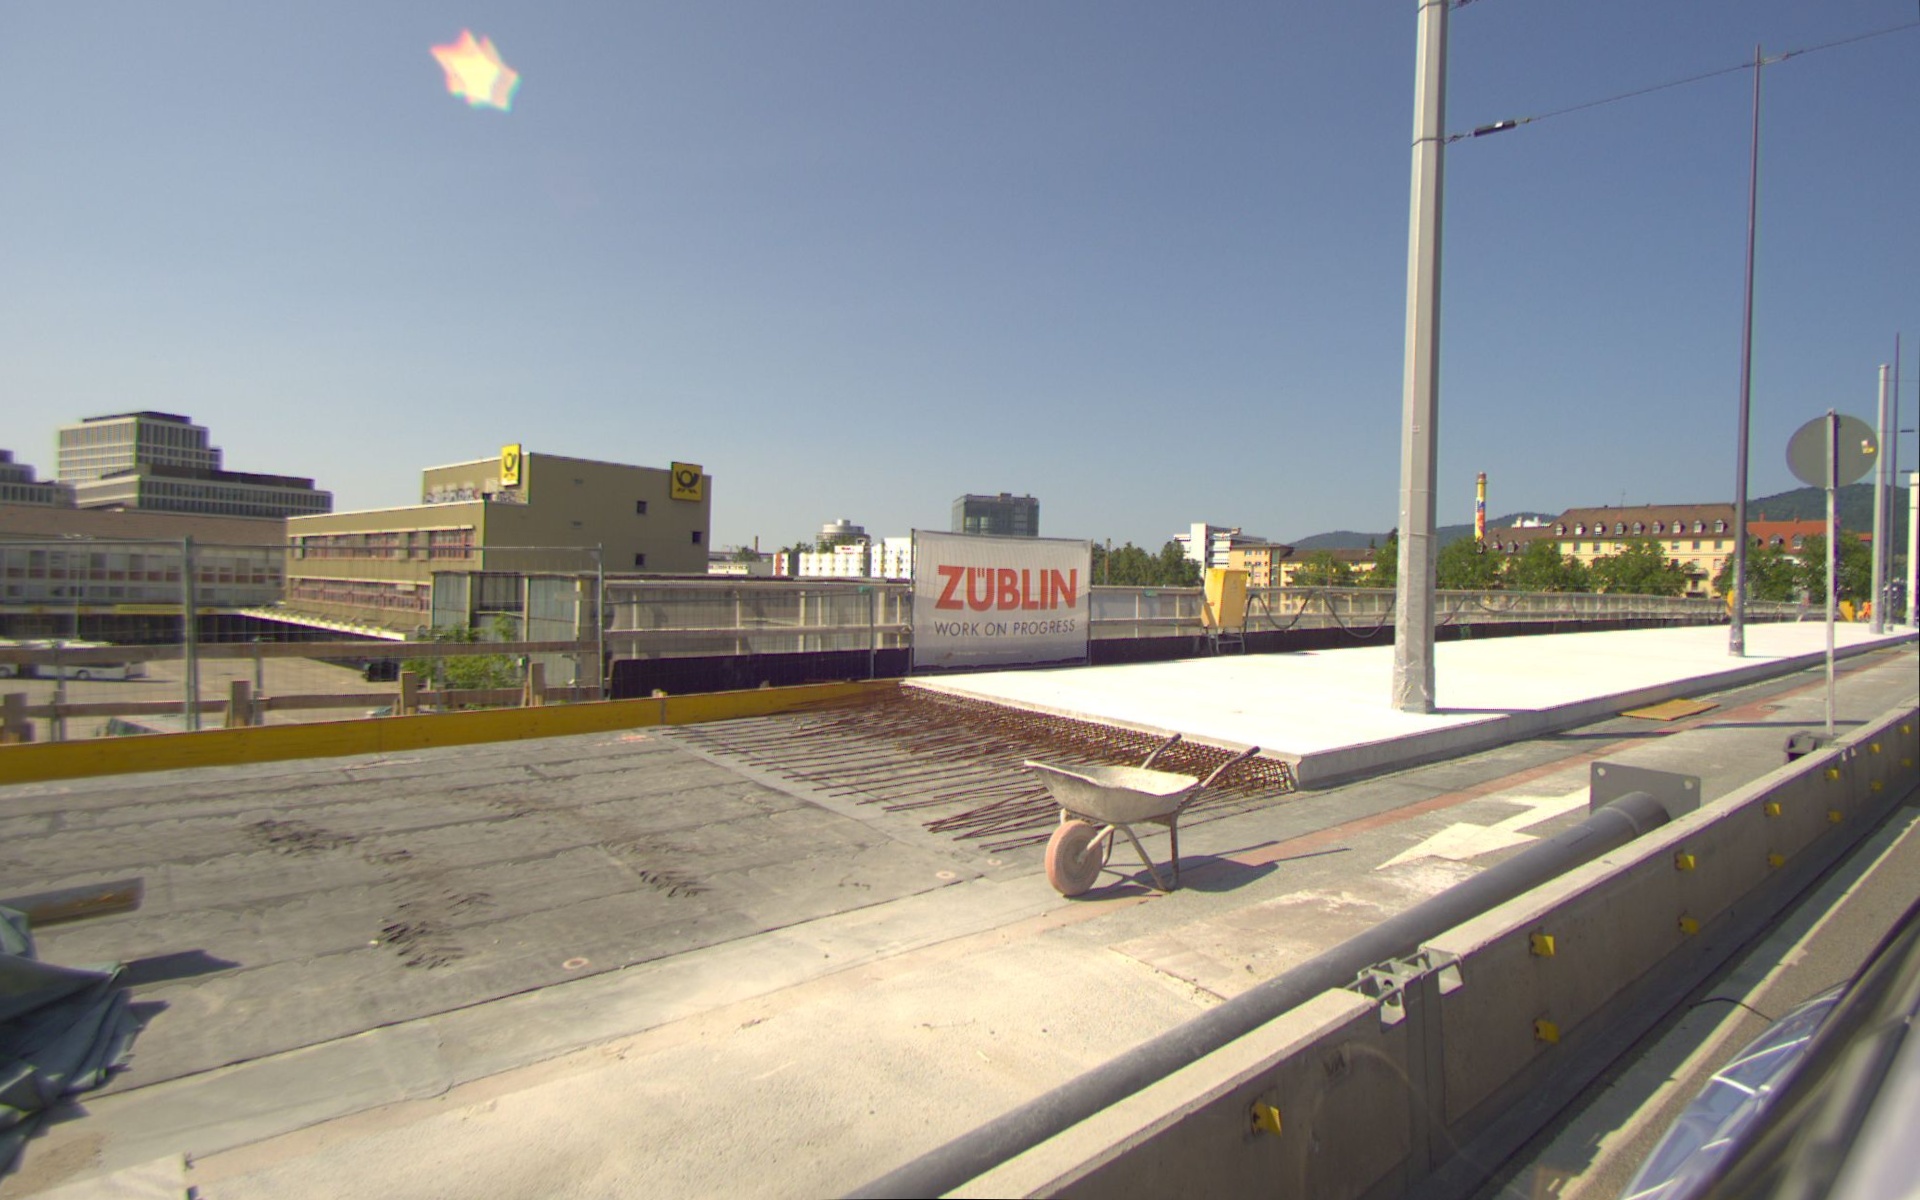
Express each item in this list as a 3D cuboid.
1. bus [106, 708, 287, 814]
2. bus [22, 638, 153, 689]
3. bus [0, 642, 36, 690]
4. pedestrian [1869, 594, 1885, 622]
[{"bbox_3d":[-30.313,6.149,39.940,10.548,2.868,2.582,0,-1,35],"label":"bus"},{"bbox_3d":[-73.911,5.364,85.879,8.555,3.885,2.182,-2,-2,-10],"label":"bus"},{"bbox_3d":[-82.570,5.615,83.696,9.002,3.885,2.129,-1,-3,-18],"label":"bus"},{"bbox_3d":[65.874,0.587,72.693,1.000,1.989,0.732,2,1,-45],"label":"pedestrian"}]
